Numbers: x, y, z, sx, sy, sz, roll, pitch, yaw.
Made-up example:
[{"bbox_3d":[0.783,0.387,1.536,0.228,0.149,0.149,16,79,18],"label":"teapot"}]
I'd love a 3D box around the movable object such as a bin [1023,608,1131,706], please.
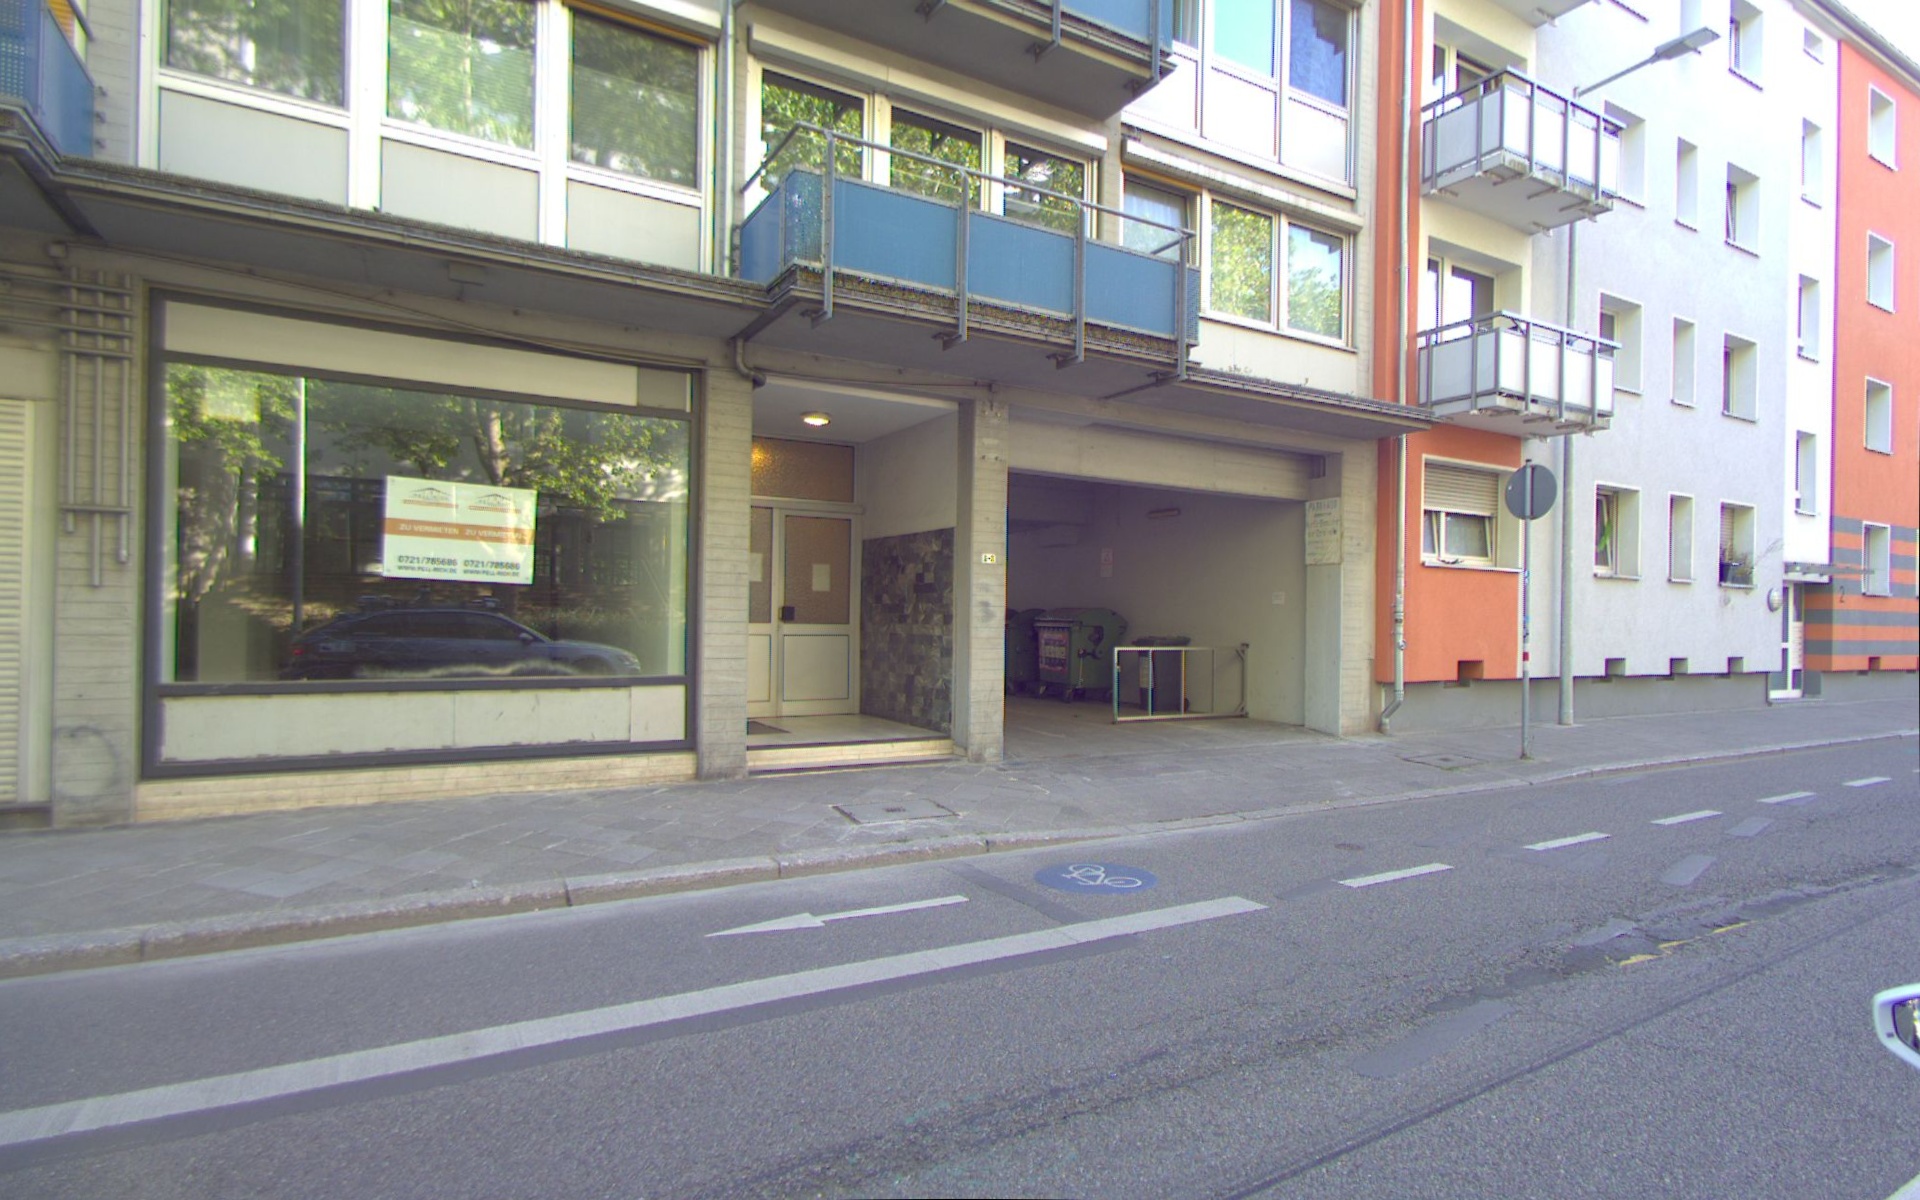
[{"bbox_3d":[1.831,0.862,15.845,1.128,1.449,1.342,1,0,-28],"label":"movable object such as a bin"}]

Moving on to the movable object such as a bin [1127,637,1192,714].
[{"bbox_3d":[2.881,1.075,14.527,0.695,1.055,0.593,2,0,-30],"label":"movable object such as a bin"}]

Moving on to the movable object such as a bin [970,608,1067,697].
[{"bbox_3d":[0.979,0.868,17.168,1.119,1.449,1.322,1,0,-28],"label":"movable object such as a bin"}]

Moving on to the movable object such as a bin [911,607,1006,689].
[{"bbox_3d":[-0.048,0.866,18.871,1.119,1.449,1.666,1,-1,-28],"label":"movable object such as a bin"}]
